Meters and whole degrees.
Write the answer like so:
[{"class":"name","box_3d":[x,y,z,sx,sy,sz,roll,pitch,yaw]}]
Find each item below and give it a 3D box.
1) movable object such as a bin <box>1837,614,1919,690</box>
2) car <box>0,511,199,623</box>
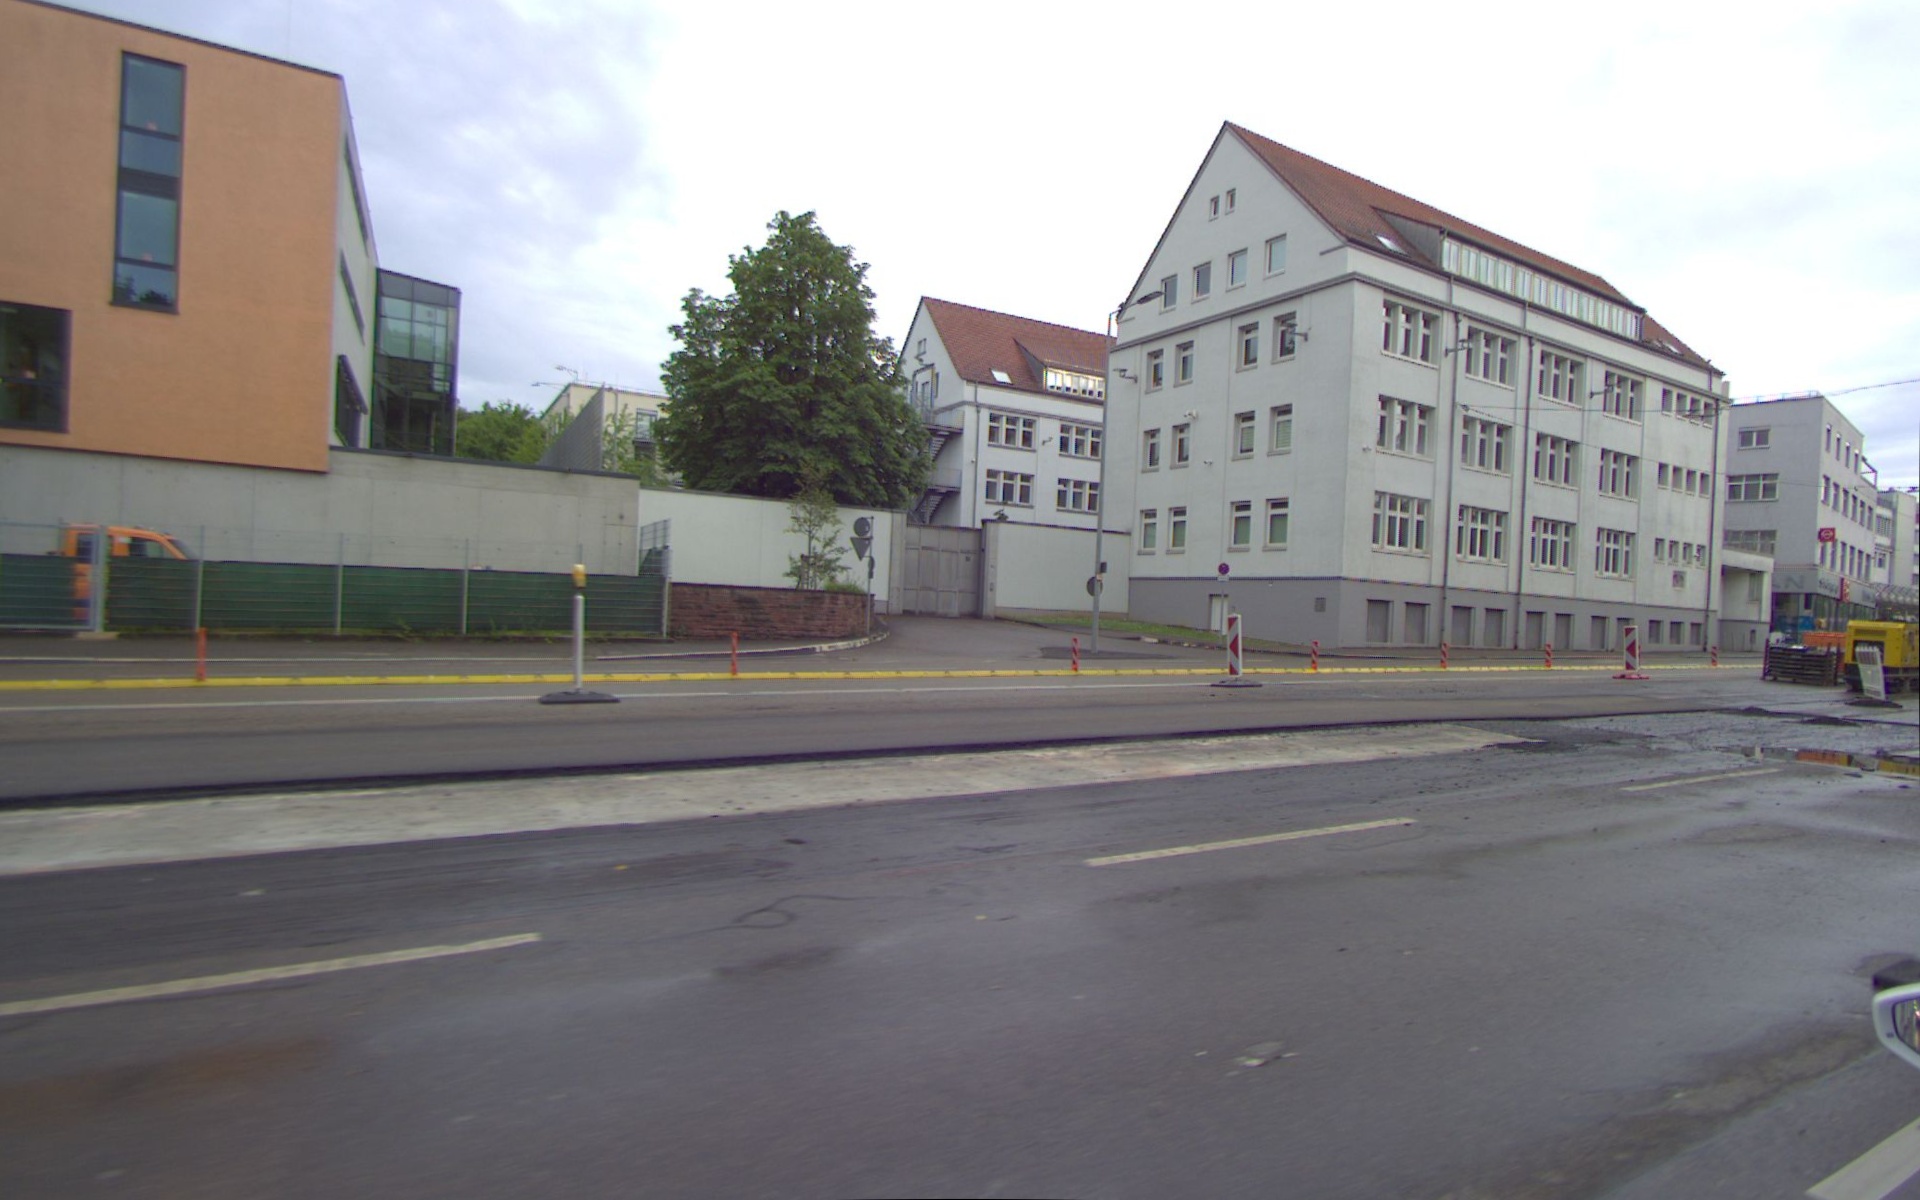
[{"class":"movable object such as a bin","box_3d":[21.775,1.217,23.584,2.411,1.666,1.078,2,0,-31]},{"class":"car","box_3d":[-18.866,-0.667,21.432,3.954,2.199,1.602,2,0,-31]}]
